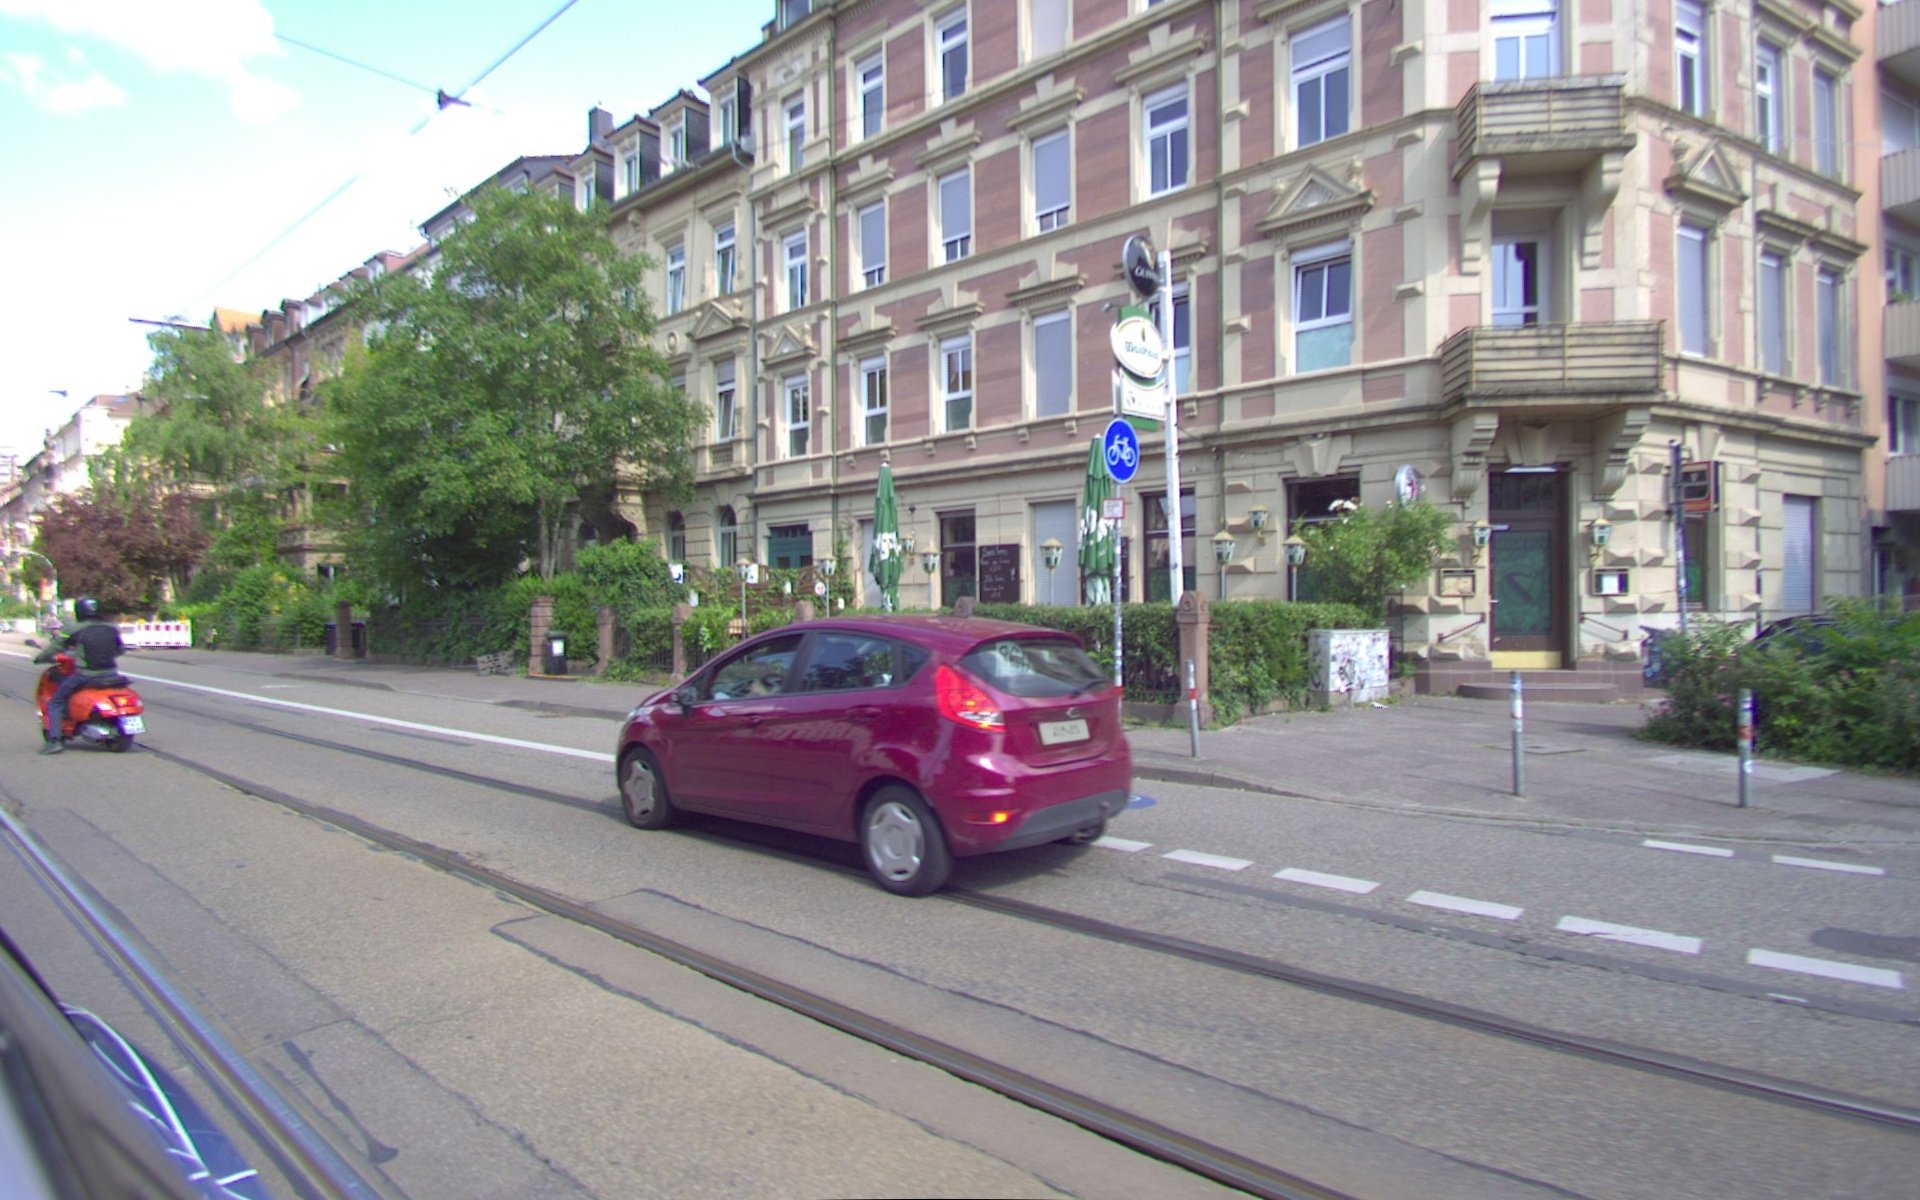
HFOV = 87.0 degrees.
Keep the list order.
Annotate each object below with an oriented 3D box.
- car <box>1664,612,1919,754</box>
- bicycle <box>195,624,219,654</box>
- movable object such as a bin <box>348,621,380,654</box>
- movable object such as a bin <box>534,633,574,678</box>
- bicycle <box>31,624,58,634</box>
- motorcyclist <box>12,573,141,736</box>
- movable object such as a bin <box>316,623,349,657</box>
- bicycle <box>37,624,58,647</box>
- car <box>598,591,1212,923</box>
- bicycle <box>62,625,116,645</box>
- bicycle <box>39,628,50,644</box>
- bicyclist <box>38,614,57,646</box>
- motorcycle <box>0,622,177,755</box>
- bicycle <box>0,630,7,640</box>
[{"bbox_3d":[10.353,0.829,10.374,1.860,1.375,4.978,-1,-1,-19],"label":"car"},{"bbox_3d":[-29.726,1.530,39.939,1.818,1.146,0.408,-1,-1,41],"label":"bicycle"},{"bbox_3d":[-20.466,1.280,34.747,0.733,1.116,0.765,-1,-1,41],"label":"movable object such as a bin"},{"bbox_3d":[-8.701,1.183,21.707,0.640,0.932,0.572,-1,-1,41],"label":"movable object such as a bin"},{"bbox_3d":[-83.097,2.625,91.841,0.483,0.948,1.731,-1,-3,40],"label":"bicycle"},{"bbox_3d":[-9.806,0.586,11.245,0.914,1.727,0.736,-1,-1,20],"label":"motorcyclist"},{"bbox_3d":[-21.043,1.343,33.958,0.733,1.116,0.765,-1,-1,41],"label":"movable object such as a bin"},{"bbox_3d":[-41.401,1.593,45.898,1.918,0.997,0.563,-1,-1,43],"label":"bicycle"},{"bbox_3d":[-0.570,0.735,6.368,3.936,1.451,1.577,-1,-2,43],"label":"car"},{"bbox_3d":[-45.385,1.816,52.752,0.586,0.944,2.106,-1,-1,40],"label":"bicycle"},{"bbox_3d":[-60.539,2.385,66.934,1.472,0.948,0.395,-5,-6,43],"label":"bicycle"},{"bbox_3d":[-41.434,1.361,45.933,0.942,1.436,0.558,-1,-1,43],"label":"bicyclist"},{"bbox_3d":[-9.774,0.938,11.228,2.072,1.370,0.737,-1,-1,20],"label":"motorcycle"},{"bbox_3d":[-85.011,3.063,88.906,1.724,0.948,0.485,2,-2,-25],"label":"bicycle"}]
